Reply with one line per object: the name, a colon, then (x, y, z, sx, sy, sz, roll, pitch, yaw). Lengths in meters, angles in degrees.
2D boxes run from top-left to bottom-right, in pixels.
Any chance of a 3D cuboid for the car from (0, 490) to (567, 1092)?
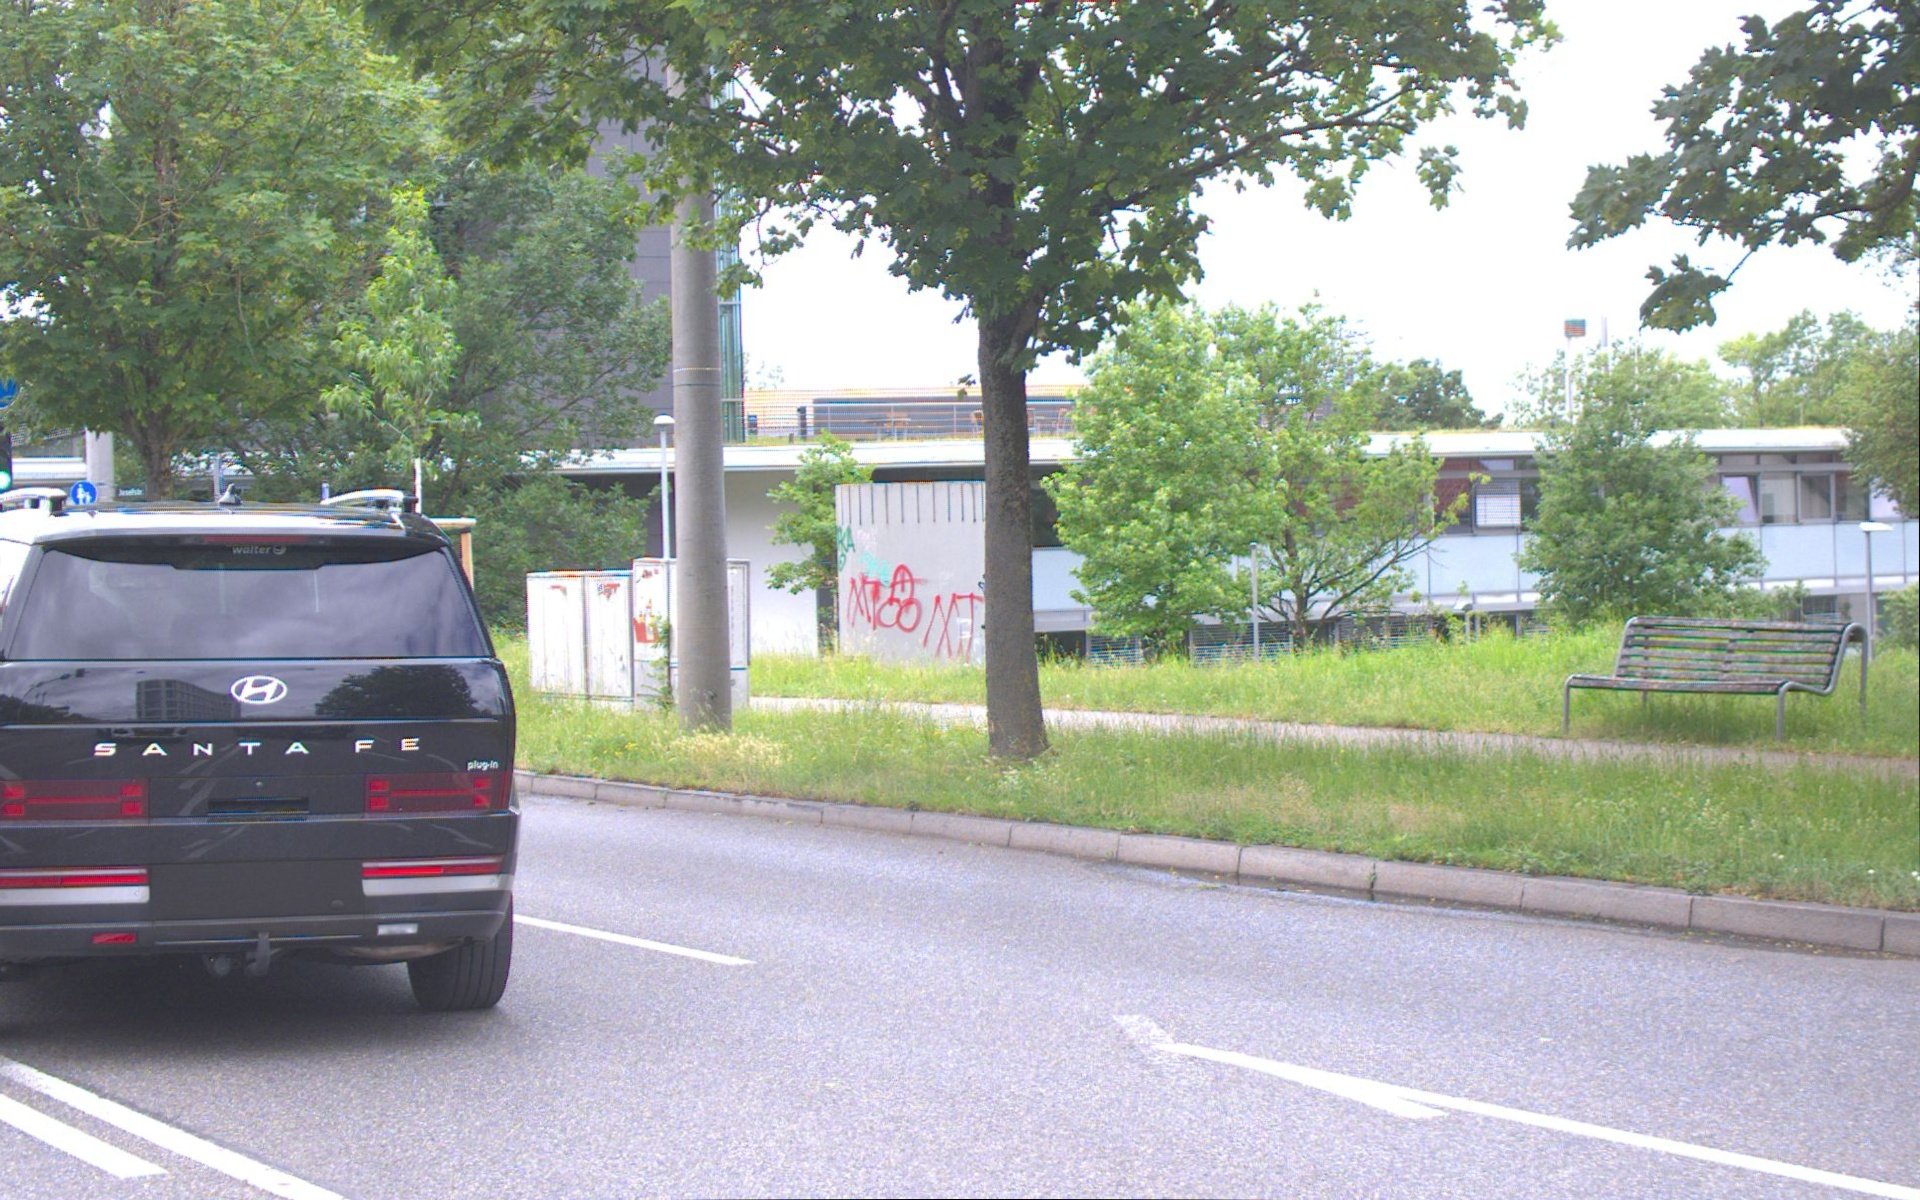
car: (-2.824, 0.518, 12.181, 1.901, 1.725, 4.447, 0, 1, -19)
